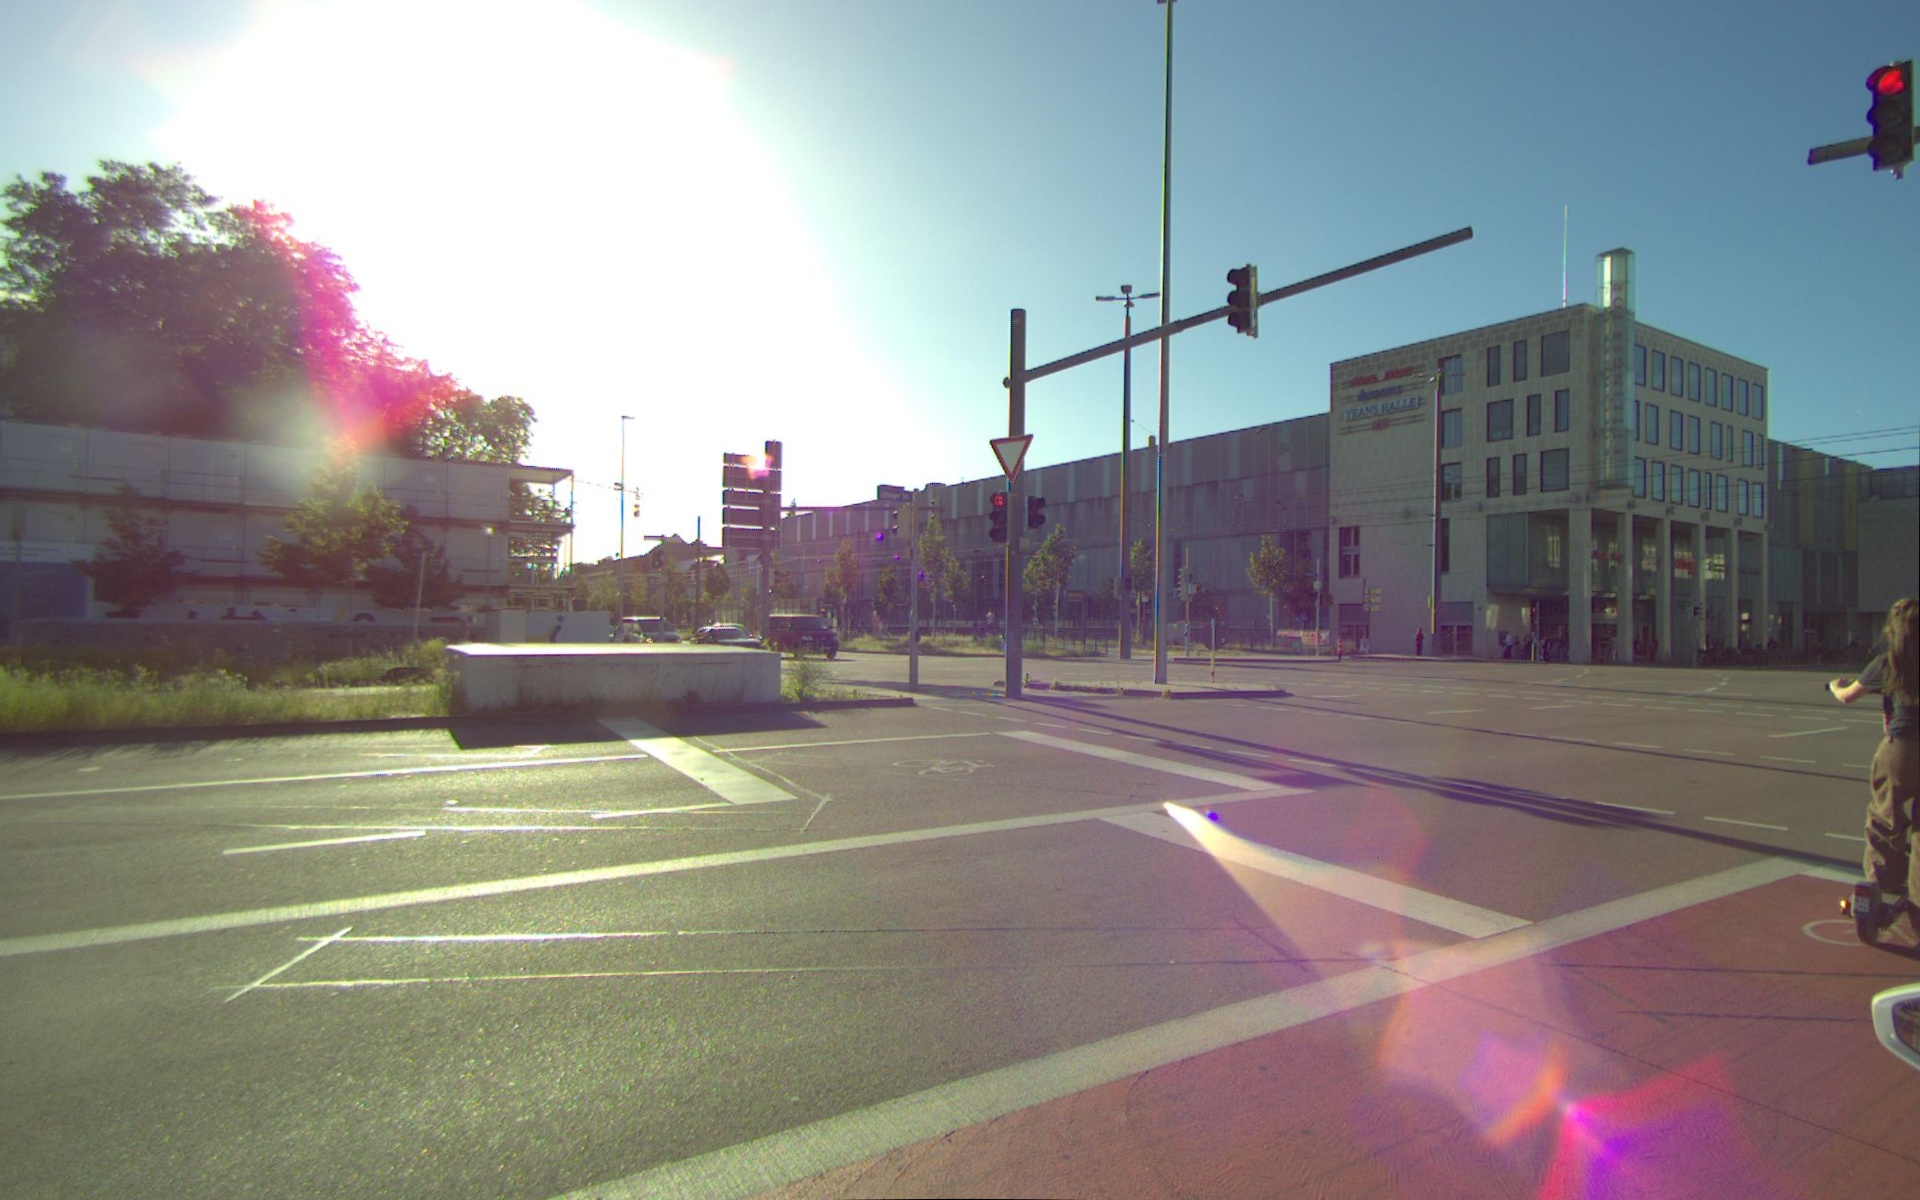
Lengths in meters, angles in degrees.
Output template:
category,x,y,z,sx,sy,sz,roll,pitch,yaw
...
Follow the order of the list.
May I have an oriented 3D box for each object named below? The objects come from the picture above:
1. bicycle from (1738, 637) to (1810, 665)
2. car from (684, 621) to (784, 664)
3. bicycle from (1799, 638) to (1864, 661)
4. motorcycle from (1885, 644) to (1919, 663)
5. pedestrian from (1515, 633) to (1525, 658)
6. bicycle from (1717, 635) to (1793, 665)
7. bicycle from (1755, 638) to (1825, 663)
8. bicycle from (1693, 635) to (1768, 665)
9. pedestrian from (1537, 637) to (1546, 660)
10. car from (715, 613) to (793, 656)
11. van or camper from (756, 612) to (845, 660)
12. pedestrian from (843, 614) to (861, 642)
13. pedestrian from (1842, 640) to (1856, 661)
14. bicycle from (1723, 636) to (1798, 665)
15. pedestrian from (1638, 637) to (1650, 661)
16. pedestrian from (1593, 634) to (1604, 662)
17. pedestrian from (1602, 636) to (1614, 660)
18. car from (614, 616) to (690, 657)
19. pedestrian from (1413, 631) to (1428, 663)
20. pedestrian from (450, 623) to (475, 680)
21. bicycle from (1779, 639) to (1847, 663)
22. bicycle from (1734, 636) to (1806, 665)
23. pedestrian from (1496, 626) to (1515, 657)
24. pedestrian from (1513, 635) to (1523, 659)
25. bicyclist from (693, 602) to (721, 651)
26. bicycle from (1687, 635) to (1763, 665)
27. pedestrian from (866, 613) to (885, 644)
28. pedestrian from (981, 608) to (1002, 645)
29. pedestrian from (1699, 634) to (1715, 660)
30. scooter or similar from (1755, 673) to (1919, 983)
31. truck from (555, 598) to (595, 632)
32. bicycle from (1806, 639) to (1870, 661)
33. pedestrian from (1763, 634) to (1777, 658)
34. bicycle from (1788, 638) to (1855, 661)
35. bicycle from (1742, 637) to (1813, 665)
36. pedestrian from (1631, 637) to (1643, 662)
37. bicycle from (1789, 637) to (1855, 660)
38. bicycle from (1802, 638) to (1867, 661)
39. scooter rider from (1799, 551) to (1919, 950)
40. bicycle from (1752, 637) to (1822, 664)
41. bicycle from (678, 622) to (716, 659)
category,x,y,z,sx,sy,sz,roll,pitch,yaw
bicycle,51.948,3.225,64.162,0.979,1.719,3.462,1,-2,-40
car,-9.395,1.705,41.514,2.313,1.671,4.821,1,-2,-37
bicycle,62.668,3.522,72.257,0.979,1.547,3.462,2,-2,-40
motorcycle,70.748,4.015,75.088,0.713,1.335,2.260,1,-2,-34
pedestrian,36.200,2.945,64.943,0.453,1.586,0.418,1,-1,-37
bicycle,48.217,3.011,60.942,1.107,1.719,3.465,1,-2,-38
bicycle,55.258,3.327,66.925,0.979,1.547,3.462,2,-2,-40
bicycle,46.604,2.996,60.821,1.107,1.719,3.465,1,-2,-38
pedestrian,37.184,3.082,64.214,0.498,1.445,0.383,1,-1,-39
car,-10.388,1.697,50.420,1.981,2.040,4.821,1,-2,-36
van or camper,-7.282,1.591,45.495,1.981,2.040,4.821,1,-2,-36
pedestrian,-7.064,1.828,65.657,0.889,1.855,0.787,1,-1,-35
pedestrian,71.478,4.042,80.778,0.688,1.664,0.691,1,-1,-37
bicycle,49.146,3.078,61.743,1.107,1.719,3.465,1,-2,-38
pedestrian,44.979,3.216,66.026,0.508,1.530,0.479,1,-1,-34
pedestrian,37.629,2.815,59.172,0.533,1.664,0.549,0,-1,33
pedestrian,42.828,3.161,66.435,0.592,1.606,0.479,1,-1,-34
car,-14.815,1.705,48.130,1.981,1.849,4.821,1,-2,-36
pedestrian,24.473,2.490,53.399,0.543,1.716,0.521,1,-1,-40
pedestrian,-14.907,1.521,30.087,0.619,1.674,0.935,1,-1,-30
bicycle,58.876,3.477,69.393,0.979,1.547,3.462,2,-2,-40
bicycle,51.122,3.188,63.428,0.979,1.719,3.462,1,-2,-40
pedestrian,32.947,2.512,60.681,0.729,1.822,0.752,1,-1,-34
pedestrian,36.178,3.045,65.140,0.452,1.586,0.420,1,-1,-30
bicyclist,-14.041,1.492,55.760,1.007,2.677,1.610,1,-1,-34
bicycle,45.701,2.975,60.036,1.107,1.719,3.465,1,-2,-38
pedestrian,-5.077,1.710,60.510,0.889,1.855,0.787,1,-1,-35
pedestrian,1.587,1.316,50.596,0.788,1.855,0.706,1,-1,-37
pedestrian,49.596,3.100,66.668,0.773,1.664,0.693,0,-1,32
scooter or similar,4.570,0.987,4.753,1.645,1.218,0.725,1,-1,-30
truck,-33.477,1.330,87.252,1.979,2.875,6.293,1,-2,-33
bicycle,64.508,3.644,73.855,0.979,1.547,3.462,2,-2,-40
pedestrian,57.931,3.275,71.809,0.689,1.664,0.648,1,-1,-38
bicycle,60.384,3.432,70.474,0.979,1.547,3.462,2,-2,-40
bicycle,52.861,3.257,64.966,0.979,1.719,3.462,1,-2,-40
pedestrian,44.292,3.215,65.711,0.508,1.606,0.479,1,-1,-34
bicycle,61.190,3.449,71.306,0.979,1.547,3.462,2,-2,-40
bicycle,63.708,3.588,73.206,0.979,1.547,3.462,2,-2,-40
scooter rider,4.630,0.685,4.795,0.801,1.798,0.725,1,-1,-30
bicycle,54.507,3.319,66.256,0.979,1.719,3.462,1,-2,-40
bicycle,-14.935,2.288,57.039,1.007,2.040,3.472,1,-2,-33
